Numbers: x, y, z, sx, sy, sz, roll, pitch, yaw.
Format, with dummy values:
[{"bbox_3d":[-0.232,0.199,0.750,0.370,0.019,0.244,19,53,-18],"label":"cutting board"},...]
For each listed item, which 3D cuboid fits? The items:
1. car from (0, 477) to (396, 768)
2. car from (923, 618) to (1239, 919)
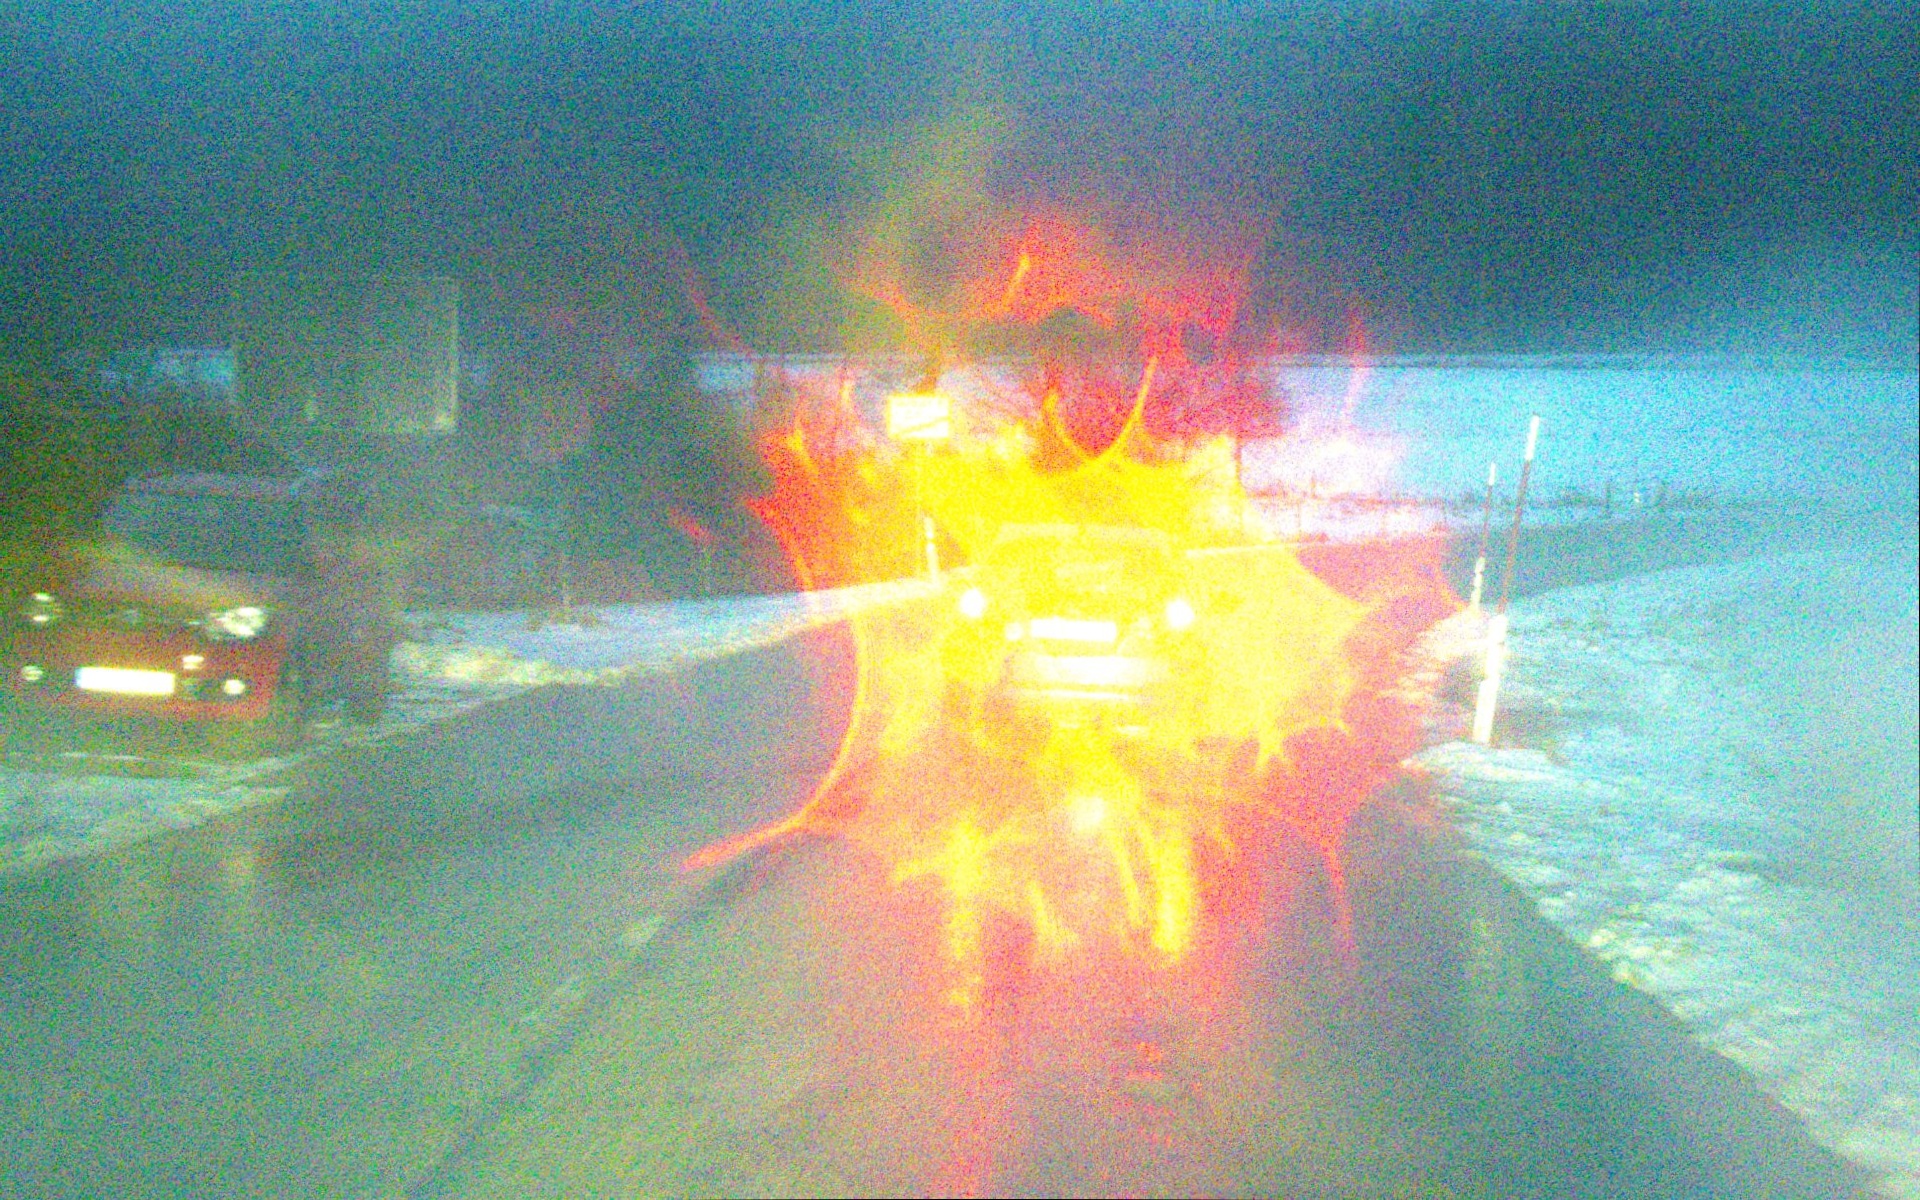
[{"bbox_3d":[-4.574,0.061,20.502,1.718,1.529,3.517,2,2,2],"label":"car"},{"bbox_3d":[0.721,1.045,22.819,1.822,1.790,3.578,2,-1,-2],"label":"car"}]
